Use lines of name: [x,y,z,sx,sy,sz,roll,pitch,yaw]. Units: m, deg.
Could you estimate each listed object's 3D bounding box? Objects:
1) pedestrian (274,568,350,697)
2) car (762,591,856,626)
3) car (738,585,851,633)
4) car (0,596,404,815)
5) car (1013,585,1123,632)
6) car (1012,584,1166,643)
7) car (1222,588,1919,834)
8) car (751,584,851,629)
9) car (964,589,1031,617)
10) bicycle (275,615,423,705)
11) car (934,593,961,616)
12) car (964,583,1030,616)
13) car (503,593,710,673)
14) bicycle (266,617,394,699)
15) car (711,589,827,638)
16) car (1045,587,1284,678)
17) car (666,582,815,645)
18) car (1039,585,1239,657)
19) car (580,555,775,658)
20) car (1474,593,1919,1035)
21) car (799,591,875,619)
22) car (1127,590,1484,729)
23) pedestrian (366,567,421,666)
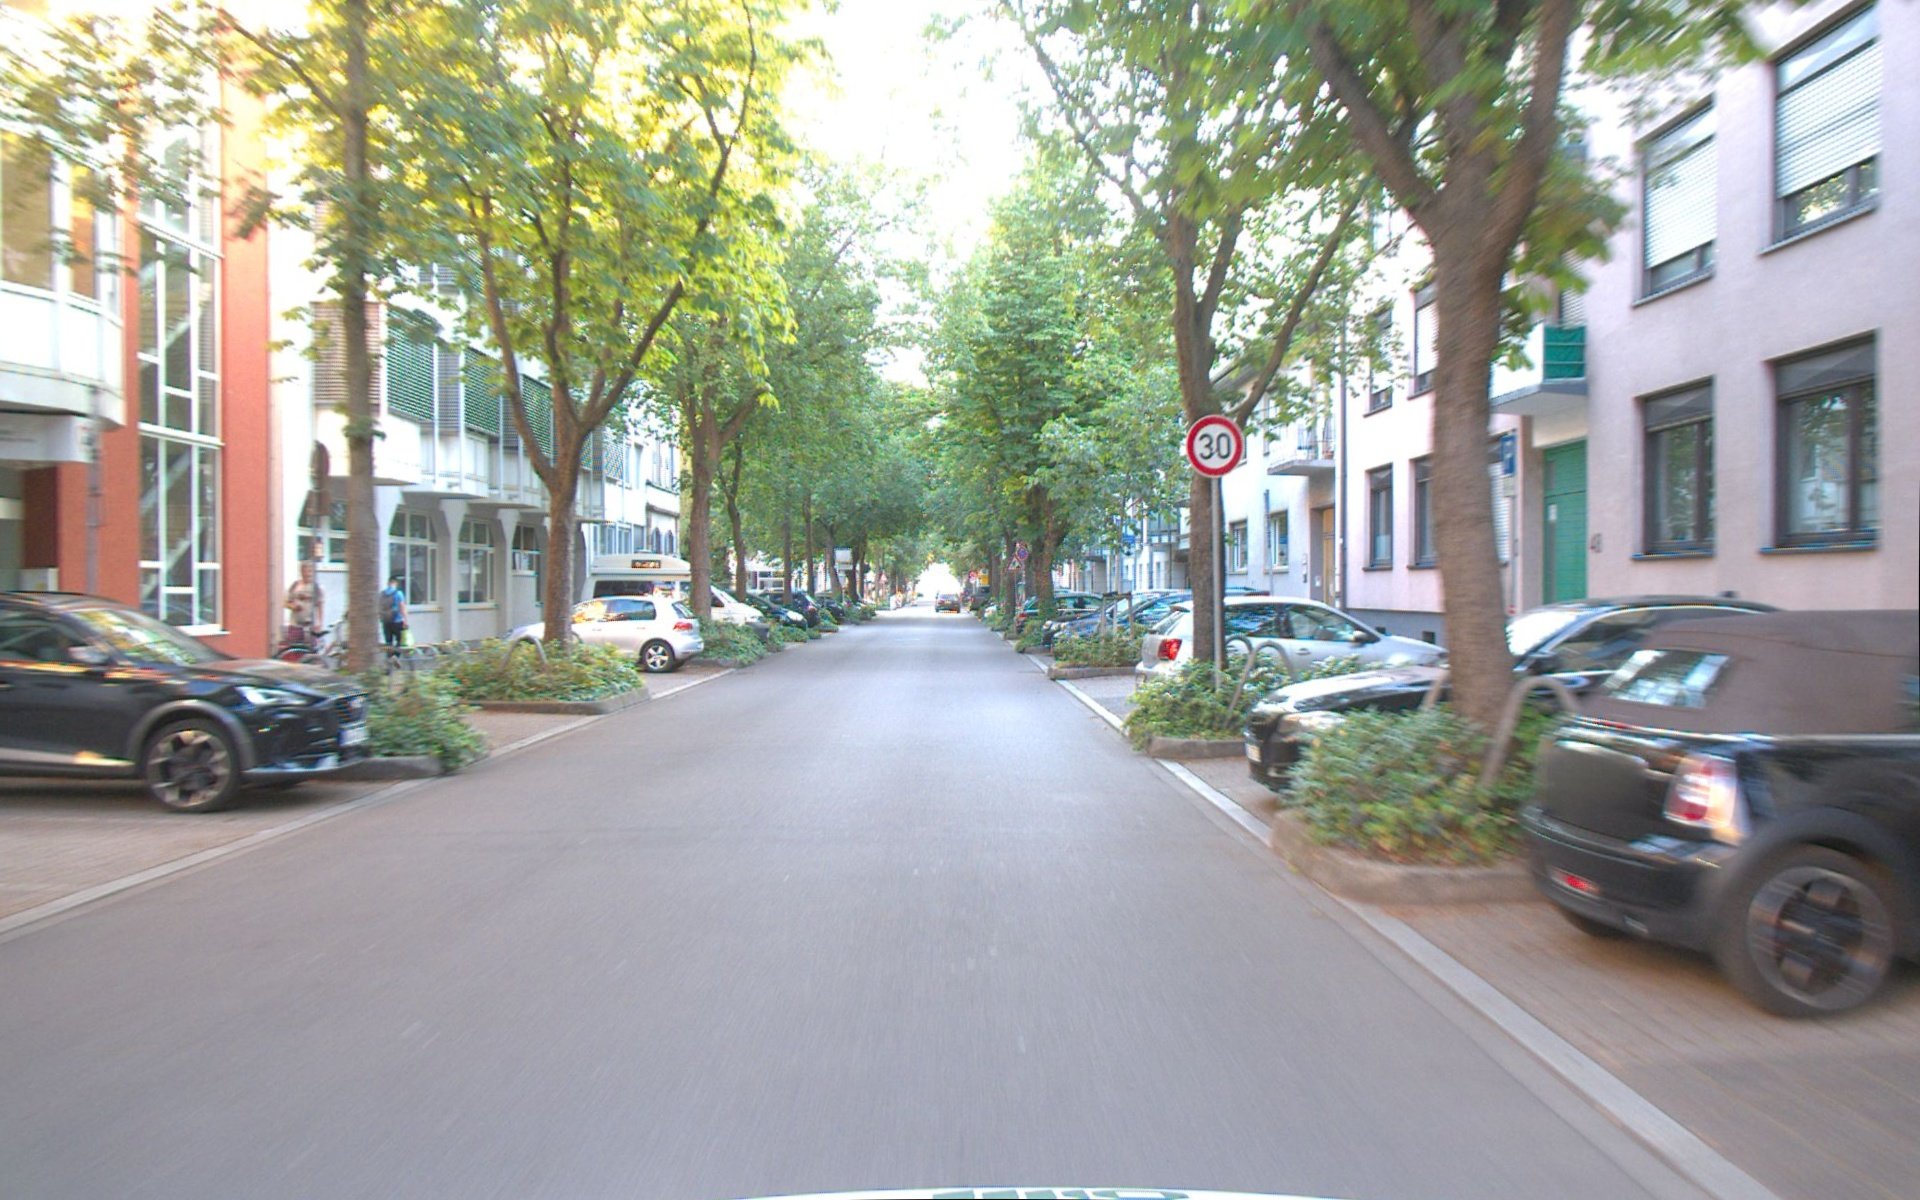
pedestrian: [-9.169,0.444,23.413,0.689,1.787,0.739,0,0,23]
car: [-7.787,0.446,85.531,4.665,1.658,1.963,-2,0,-1]
car: [-6.955,0.383,69.770,4.502,1.839,1.963,-2,0,-1]
car: [-6.619,0.747,12.694,4.044,1.512,1.929,1,0,-2]
car: [4.019,0.311,62.073,3.968,1.625,1.825,-2,0,-1]
car: [3.795,0.389,48.959,4.414,1.548,1.996,-2,0,3]
car: [4.340,0.707,11.693,4.615,1.446,2.035,-1,1,-1]
car: [-7.776,0.302,81.211,4.665,2.019,1.963,-2,0,-1]
car: [2.362,0.195,105.093,4.181,1.593,1.963,-2,0,-1]
bicycle: [-7.932,0.773,21.491,1.771,1.127,0.496,1,0,-25]
car: [-0.915,0.321,119.837,1.917,1.593,4.282,-2,0,0]
car: [2.408,-0.012,107.880,4.181,1.996,1.963,-2,0,-1]
car: [-7.128,0.648,33.571,3.791,1.512,1.757,1,0,1]
bicycle: [-8.622,0.784,22.638,1.757,1.047,0.500,1,0,22]
car: [-7.133,0.492,62.073,4.117,1.664,1.963,-2,0,-1]
car: [4.075,0.631,33.544,4.620,1.740,1.950,0,1,1]
car: [-7.173,0.421,54.349,4.587,1.886,1.963,-2,0,-1]
car: [4.286,0.494,40.055,4.587,1.548,1.963,-2,0,-1]
car: [-7.089,0.165,41.894,4.587,2.521,2.000,0,0,-1]
car: [4.152,0.731,6.842,3.414,1.478,1.898,-1,1,-3]
car: [-7.764,0.310,104.619,4.665,1.658,1.963,-2,0,-1]
car: [4.037,0.664,19.739,3.800,1.465,1.846,-1,1,-4]
pedestrian: [-10.299,0.294,30.094,0.689,1.758,0.905,0,0,-1]
